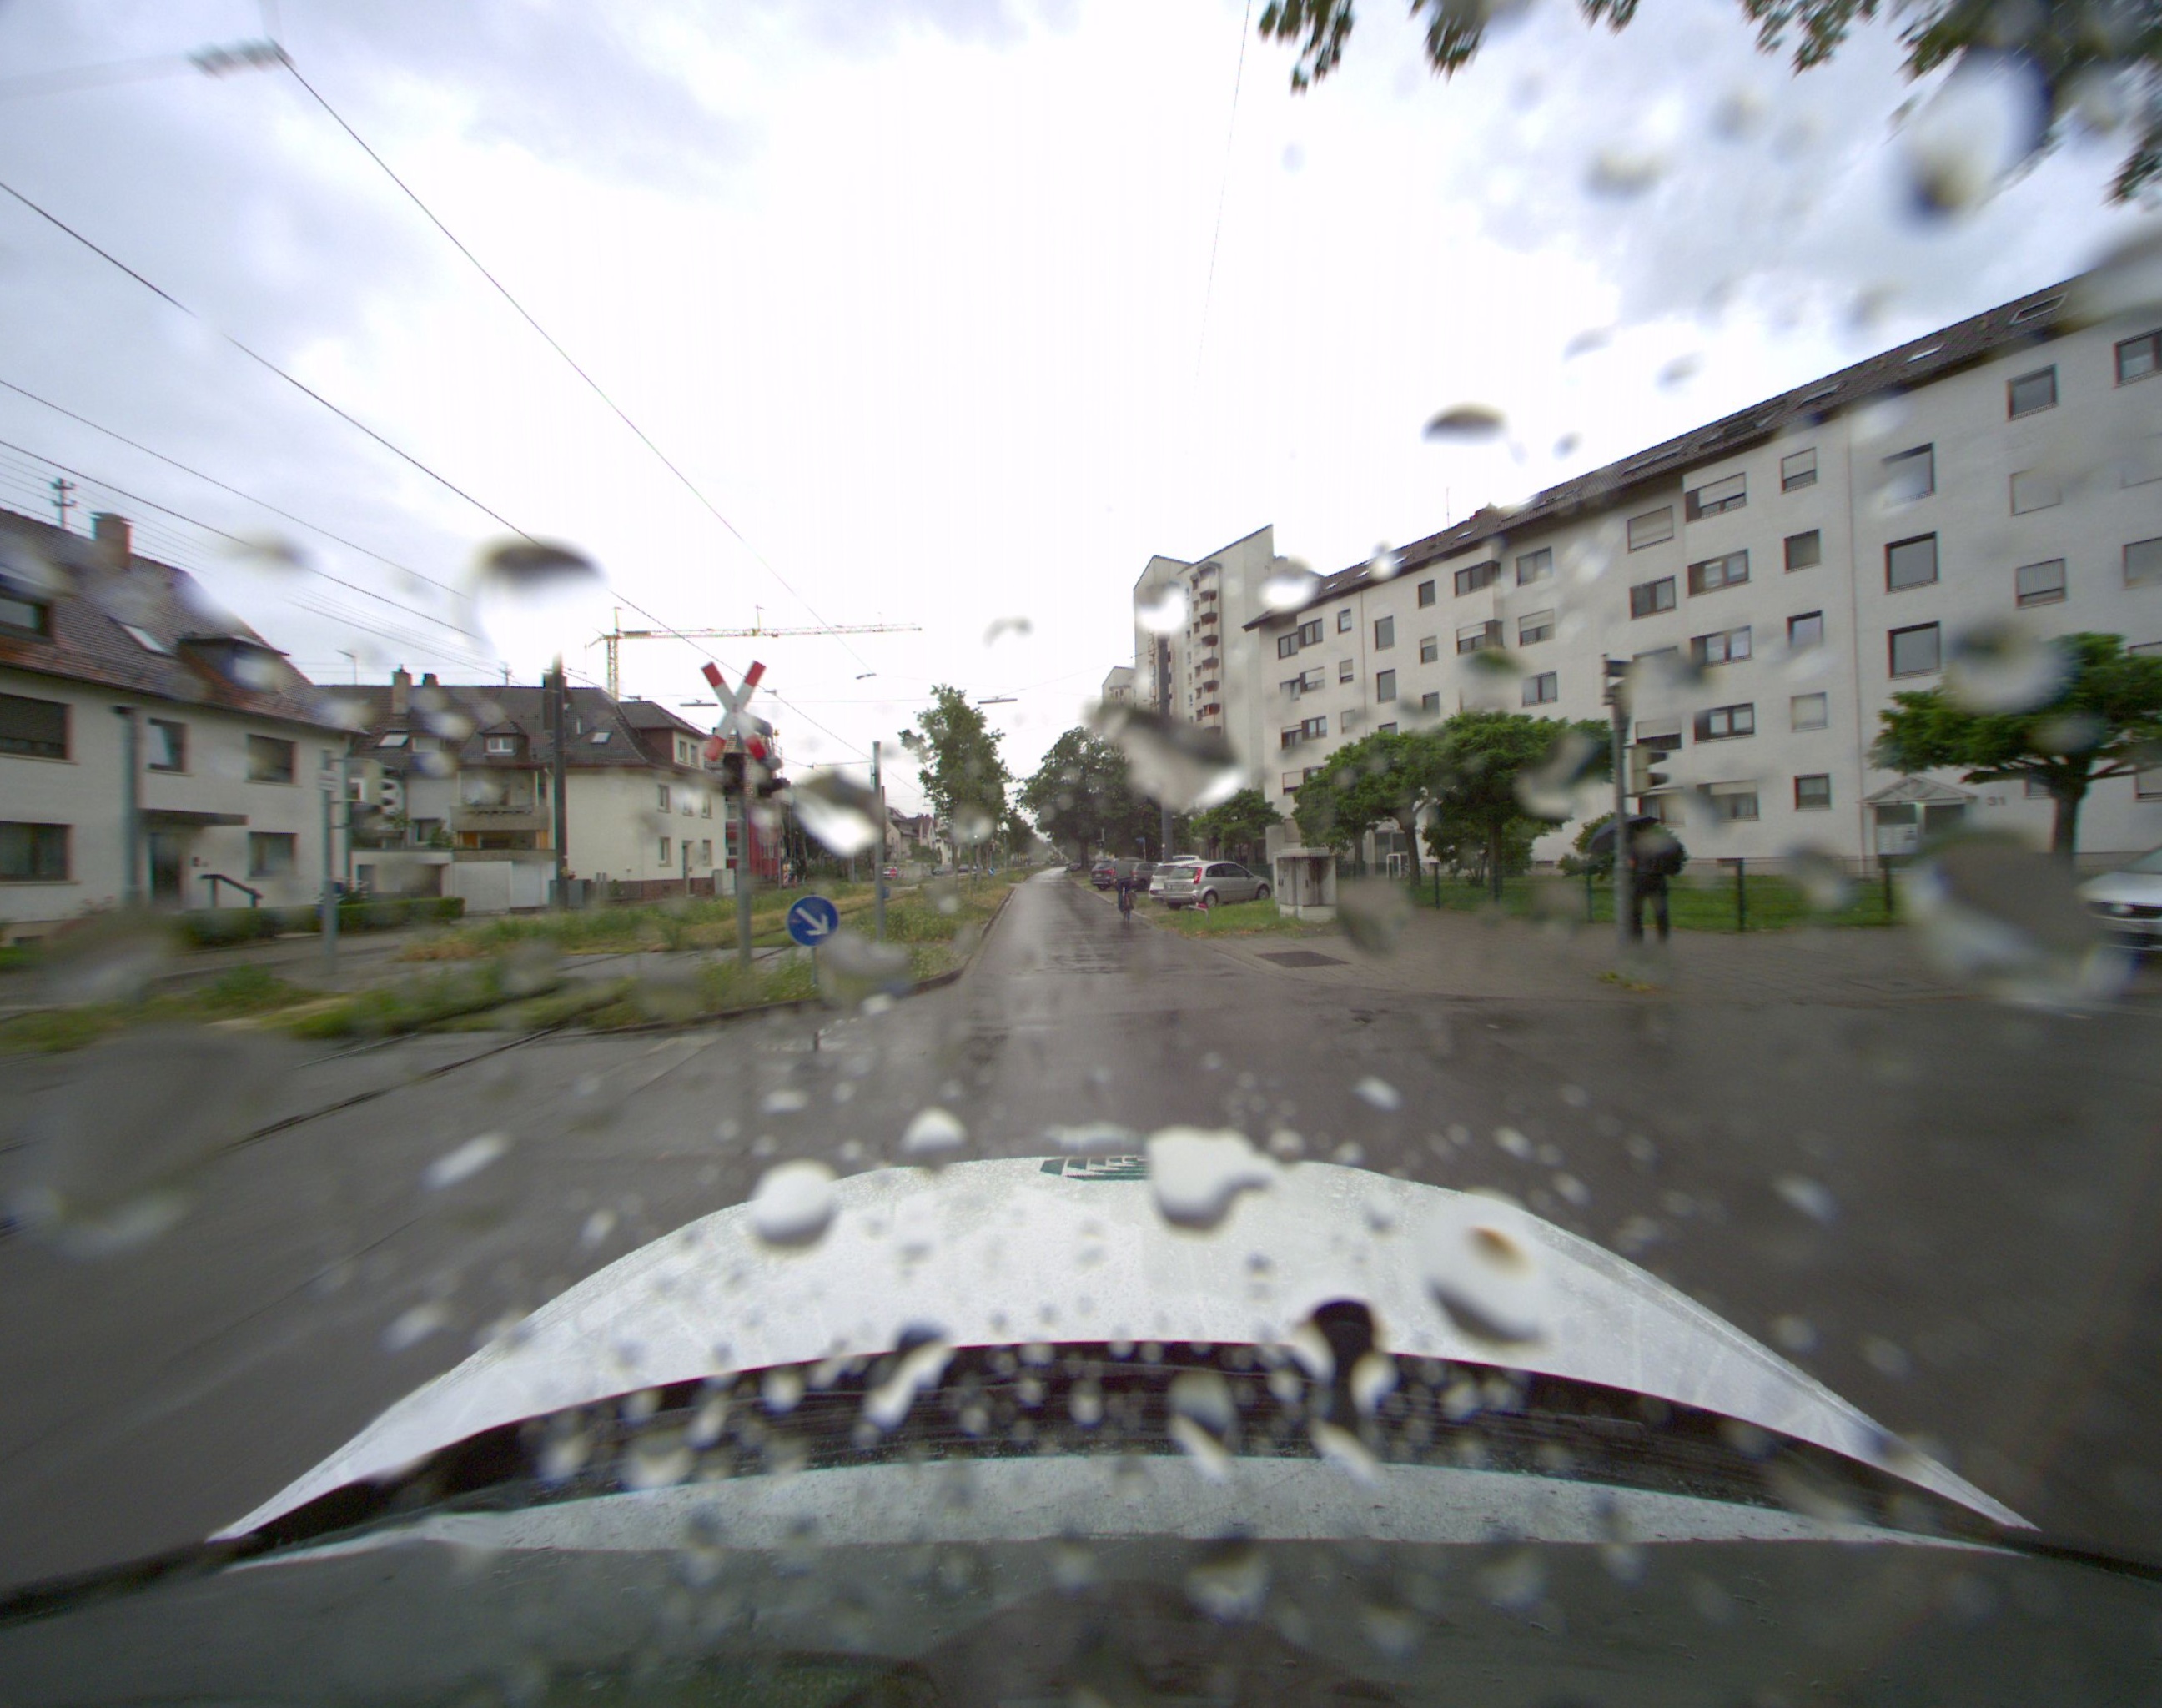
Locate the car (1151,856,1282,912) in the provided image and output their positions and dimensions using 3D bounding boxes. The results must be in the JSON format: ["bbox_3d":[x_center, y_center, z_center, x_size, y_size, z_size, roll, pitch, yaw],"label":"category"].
[{"bbox_3d":[4.319,0.923,25.655,4.020,1.508,1.763,-2,-3,-39],"label":"car"}]

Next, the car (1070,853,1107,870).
[{"bbox_3d":[0.933,0.919,102.134,4.165,1.719,1.979,-5,1,-34],"label":"car"}]

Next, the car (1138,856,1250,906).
[{"bbox_3d":[4.090,0.935,29.031,4.022,1.508,1.685,-2,-3,-42],"label":"car"}]

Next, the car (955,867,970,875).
[{"bbox_3d":[-21.361,3.065,147.446,1.889,1.244,4.688,0,-1,2],"label":"car"}]

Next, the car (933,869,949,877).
[{"bbox_3d":[-20.907,2.819,121.556,1.658,1.244,4.069,0,-1,-1],"label":"car"}]

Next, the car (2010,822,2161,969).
[{"bbox_3d":[14.515,0.397,9.937,4.282,1.680,1.870,-2,-1,-2],"label":"car"}]

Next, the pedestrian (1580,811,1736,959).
[{"bbox_3d":[7.609,0.398,10.852,1.093,1.813,1.436,-2,-1,7],"label":"pedestrian"}]

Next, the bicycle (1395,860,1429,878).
[{"bbox_3d":[16.127,0.729,39.678,0.492,0.848,1.557,-2,-1,-29],"label":"bicycle"}]

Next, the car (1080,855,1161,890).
[{"bbox_3d":[2.157,0.982,43.857,4.375,1.651,1.835,-2,-1,-44],"label":"car"}]

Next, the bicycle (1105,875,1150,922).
[{"bbox_3d":[1.199,1.152,21.666,0.808,1.097,2.512,-2,-1,-5],"label":"bicycle"}]

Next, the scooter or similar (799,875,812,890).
[{"bbox_3d":[-22.372,2.278,66.146,0.391,1.180,1.287,-2,-1,12],"label":"scooter or similar"}]

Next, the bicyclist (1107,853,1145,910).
[{"bbox_3d":[1.185,0.725,21.604,0.808,1.433,1.058,-2,-1,-6],"label":"bicyclist"}]

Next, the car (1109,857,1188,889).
[{"bbox_3d":[3.413,0.952,40.811,4.023,1.429,1.713,-2,-1,-44],"label":"car"}]

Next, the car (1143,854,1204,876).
[{"bbox_3d":[7.940,0.916,70.282,4.815,1.745,1.988,-2,-1,-18],"label":"car"}]

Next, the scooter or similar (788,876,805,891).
[{"bbox_3d":[-22.022,2.278,63.063,0.436,1.129,1.290,-2,-1,27],"label":"scooter or similar"}]

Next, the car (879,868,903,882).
[{"bbox_3d":[-21.442,2.382,91.993,1.705,1.542,4.420,0,-1,-1],"label":"car"}]
